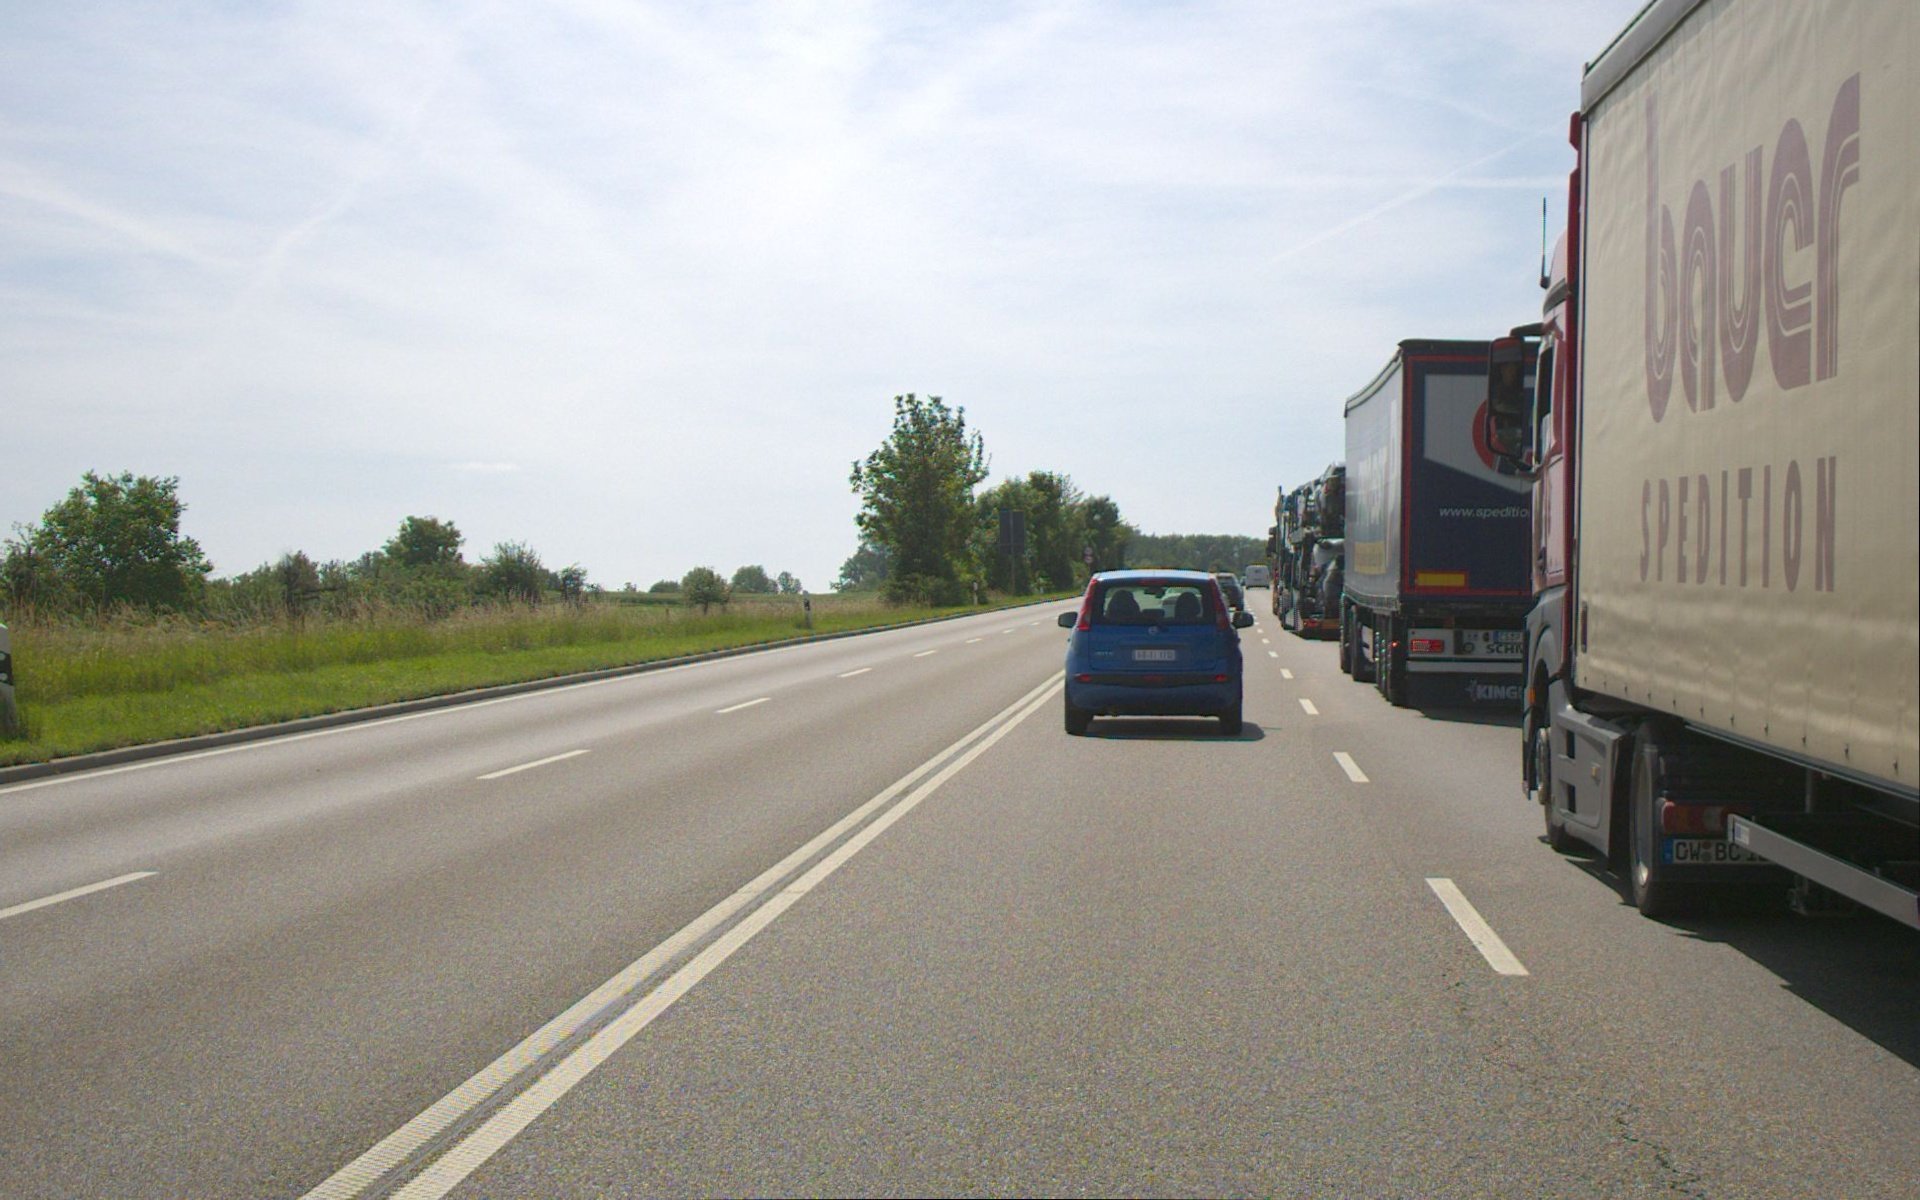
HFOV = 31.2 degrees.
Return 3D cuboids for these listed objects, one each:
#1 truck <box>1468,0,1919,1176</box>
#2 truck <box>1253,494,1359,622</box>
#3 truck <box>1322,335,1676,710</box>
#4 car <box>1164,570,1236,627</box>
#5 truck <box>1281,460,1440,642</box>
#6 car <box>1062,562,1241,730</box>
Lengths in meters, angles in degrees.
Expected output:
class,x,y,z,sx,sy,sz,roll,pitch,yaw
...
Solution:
class,x,y,z,sx,sy,sz,roll,pitch,yaw
truck,4.063,-0.683,11.726,3.007,4.166,16.712,1,1,3
truck,11.438,-1.363,115.136,3.047,3.897,18.395,1,0,4
truck,6.465,-0.883,43.861,3.047,3.897,15.613,1,0,4
car,6.051,-0.053,87.000,1.703,1.371,4.603,1,0,3
truck,9.521,-1.141,83.563,3.047,3.897,18.395,1,0,4
car,1.893,0.420,33.593,1.632,1.526,3.914,1,0,4
